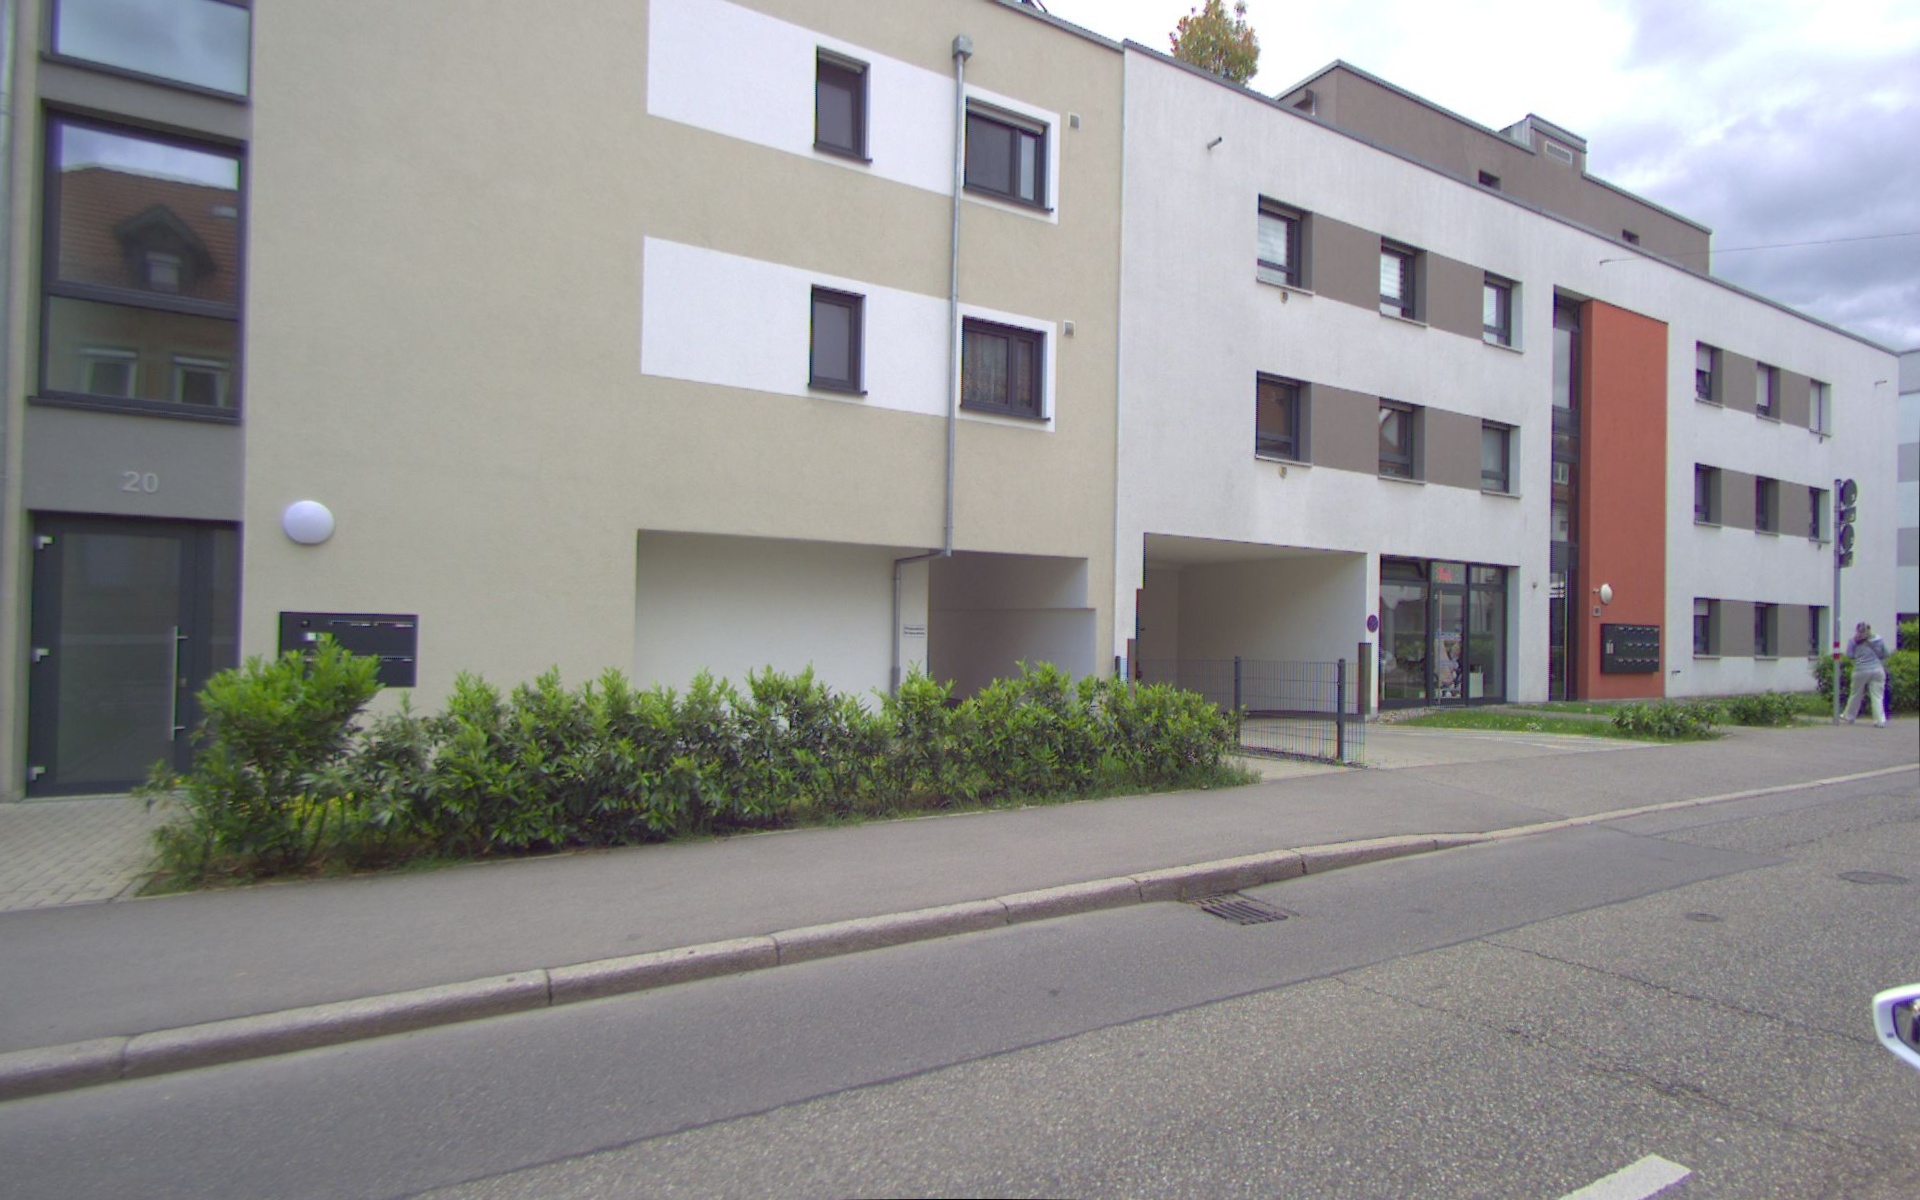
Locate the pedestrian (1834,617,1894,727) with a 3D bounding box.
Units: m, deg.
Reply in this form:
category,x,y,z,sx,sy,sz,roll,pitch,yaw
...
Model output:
category,x,y,z,sx,sy,sz,roll,pitch,yaw
pedestrian,14.109,1.106,15.688,0.629,1.664,0.518,0,-1,35
